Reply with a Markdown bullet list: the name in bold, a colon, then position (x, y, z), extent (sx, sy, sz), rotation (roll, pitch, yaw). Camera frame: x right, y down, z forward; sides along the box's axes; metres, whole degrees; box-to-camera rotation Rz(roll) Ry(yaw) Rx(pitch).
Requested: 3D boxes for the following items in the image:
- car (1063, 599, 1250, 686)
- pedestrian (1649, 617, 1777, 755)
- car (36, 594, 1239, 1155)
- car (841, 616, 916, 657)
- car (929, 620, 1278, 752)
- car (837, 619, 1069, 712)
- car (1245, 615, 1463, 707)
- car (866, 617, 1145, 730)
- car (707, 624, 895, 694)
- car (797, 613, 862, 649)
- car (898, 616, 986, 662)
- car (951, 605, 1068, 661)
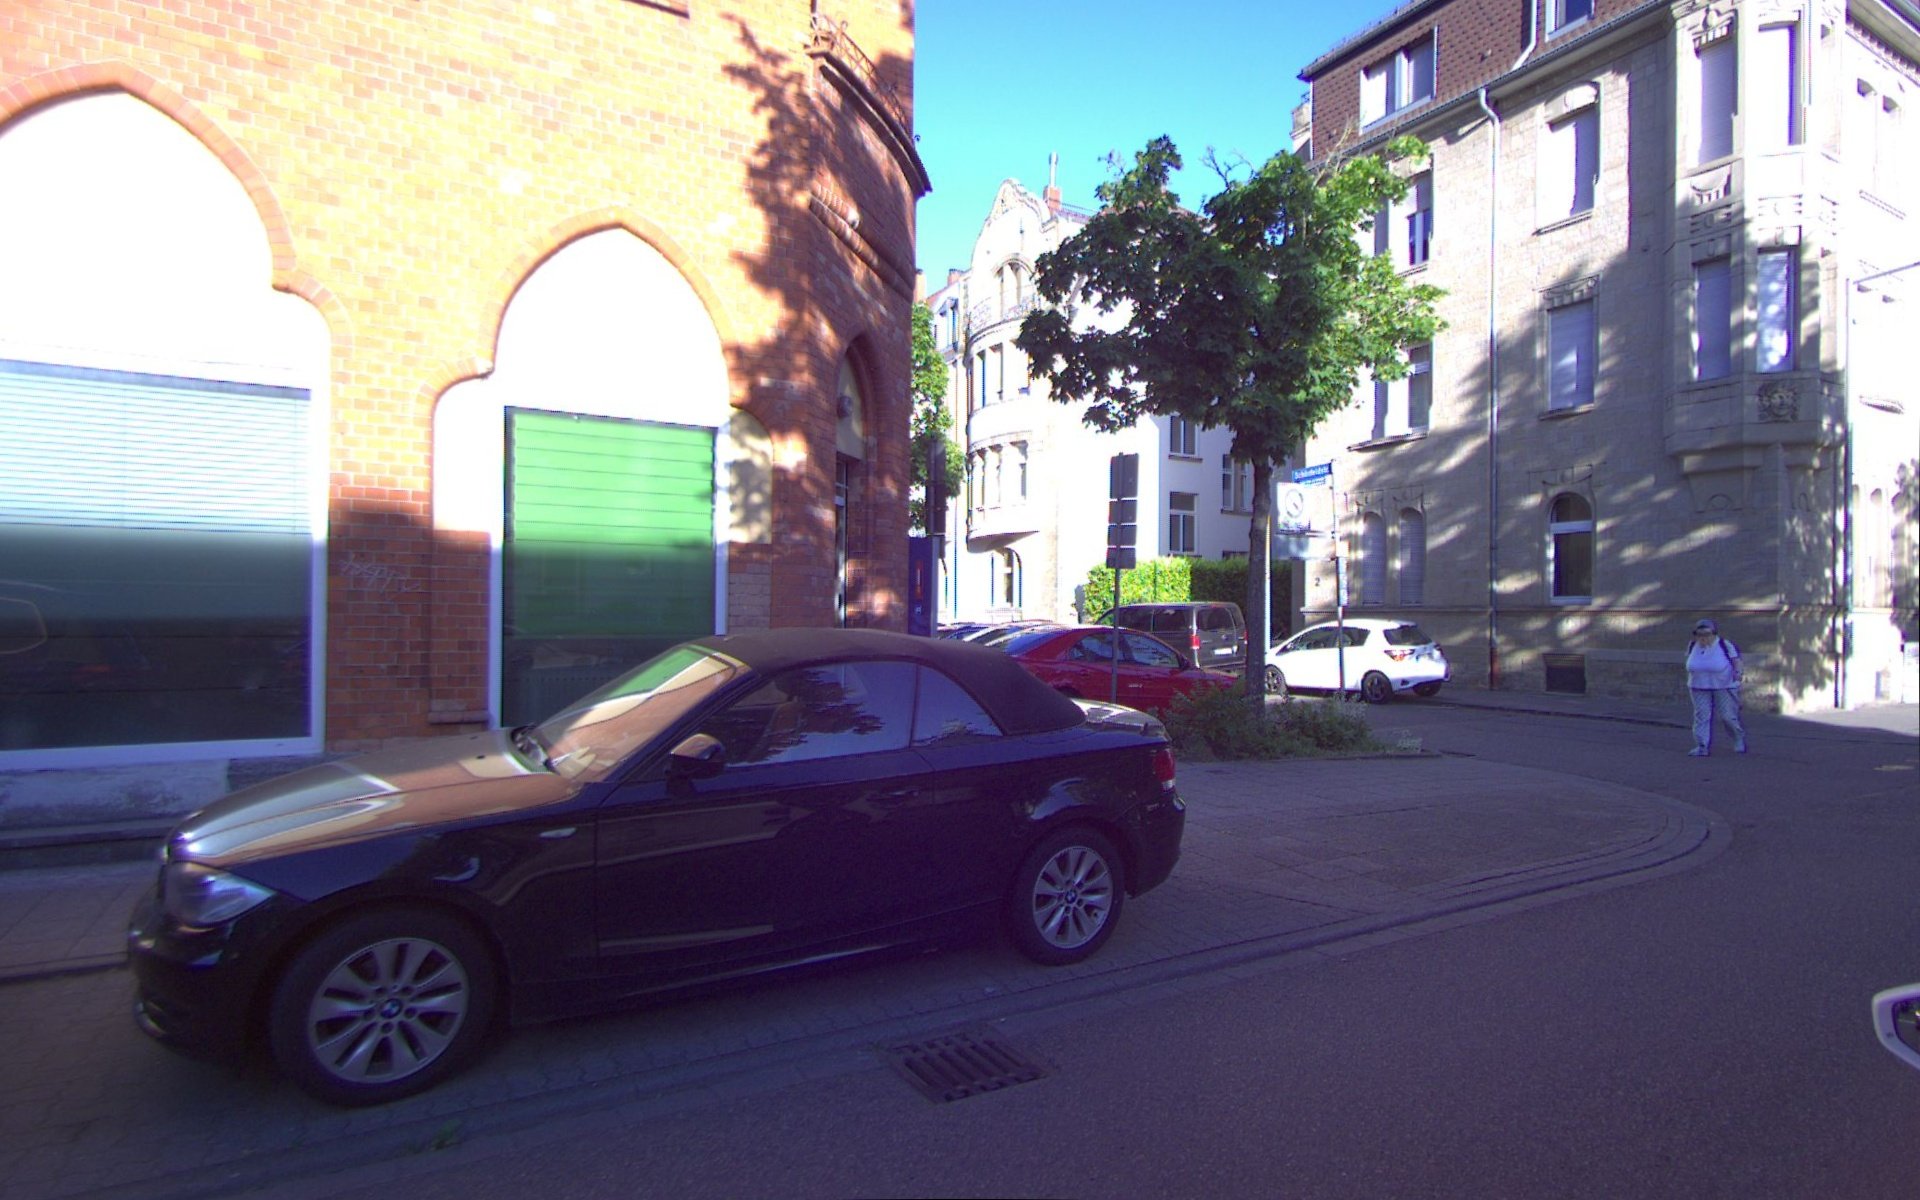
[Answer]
- **car**: position (4.723, 0.982, 24.845), extent (1.846, 1.891, 4.688), rotation (-2, 0, -31)
- **pedestrian**: position (9.246, 1.021, 12.339), extent (1.041, 1.598, 0.884), rotation (0, -2, -30)
- **car**: position (-0.944, 0.765, 4.406), extent (4.282, 1.429, 1.628), rotation (2, 1, -30)
- **car**: position (-3.176, 1.374, 38.555), extent (1.471, 1.424, 3.386), rotation (-2, 0, -31)
- **car**: position (1.997, 1.056, 13.448), extent (4.603, 1.488, 1.628), rotation (2, 0, -30)
- **car**: position (-0.102, 1.137, 18.180), extent (3.869, 1.532, 1.705), rotation (2, -2, -30)
- **car**: position (7.722, 1.124, 19.992), extent (1.699, 1.571, 3.776), rotation (-2, 0, -31)
- **car**: position (0.763, 1.078, 15.844), extent (4.163, 1.571, 1.705), rotation (1, -2, -30)
- **car**: position (-3.812, 1.373, 24.217), extent (4.163, 1.571, 1.705), rotation (1, -2, -30)
- **car**: position (-5.599, 1.306, 42.804), extent (1.471, 1.424, 3.386), rotation (-2, 0, -31)
- **car**: position (-0.671, 1.302, 34.476), extent (1.471, 1.424, 3.386), rotation (-2, 0, -31)
- **car**: position (1.422, 0.960, 30.315), extent (1.584, 1.493, 3.870), rotation (-2, 0, -31)
